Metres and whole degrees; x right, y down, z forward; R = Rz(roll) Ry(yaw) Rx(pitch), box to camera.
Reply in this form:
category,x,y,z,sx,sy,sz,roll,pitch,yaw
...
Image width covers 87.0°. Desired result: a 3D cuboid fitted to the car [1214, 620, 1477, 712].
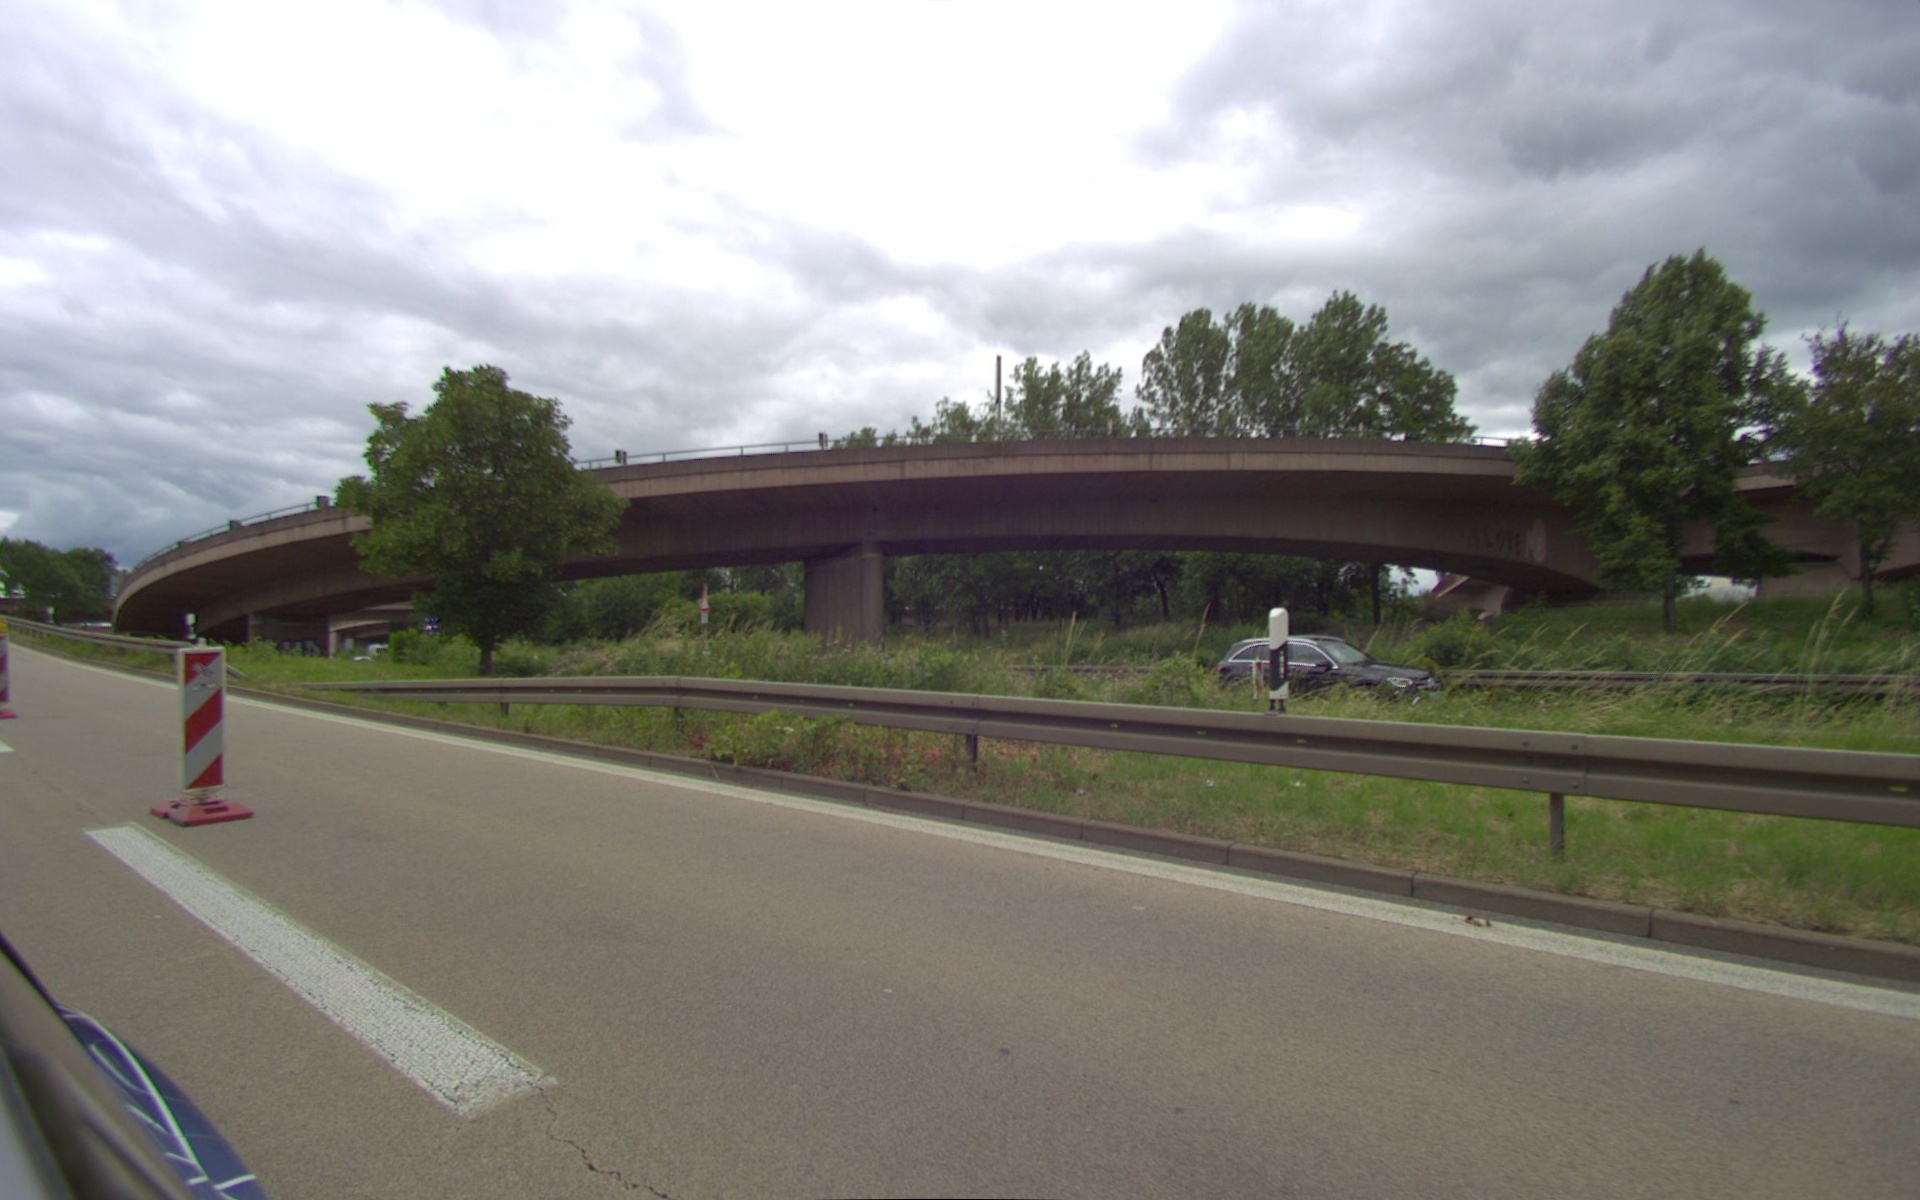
category,x,y,z,sx,sy,sz,roll,pitch,yaw
car,7.711,1.292,20.637,2.012,1.627,4.585,0,-2,-40
